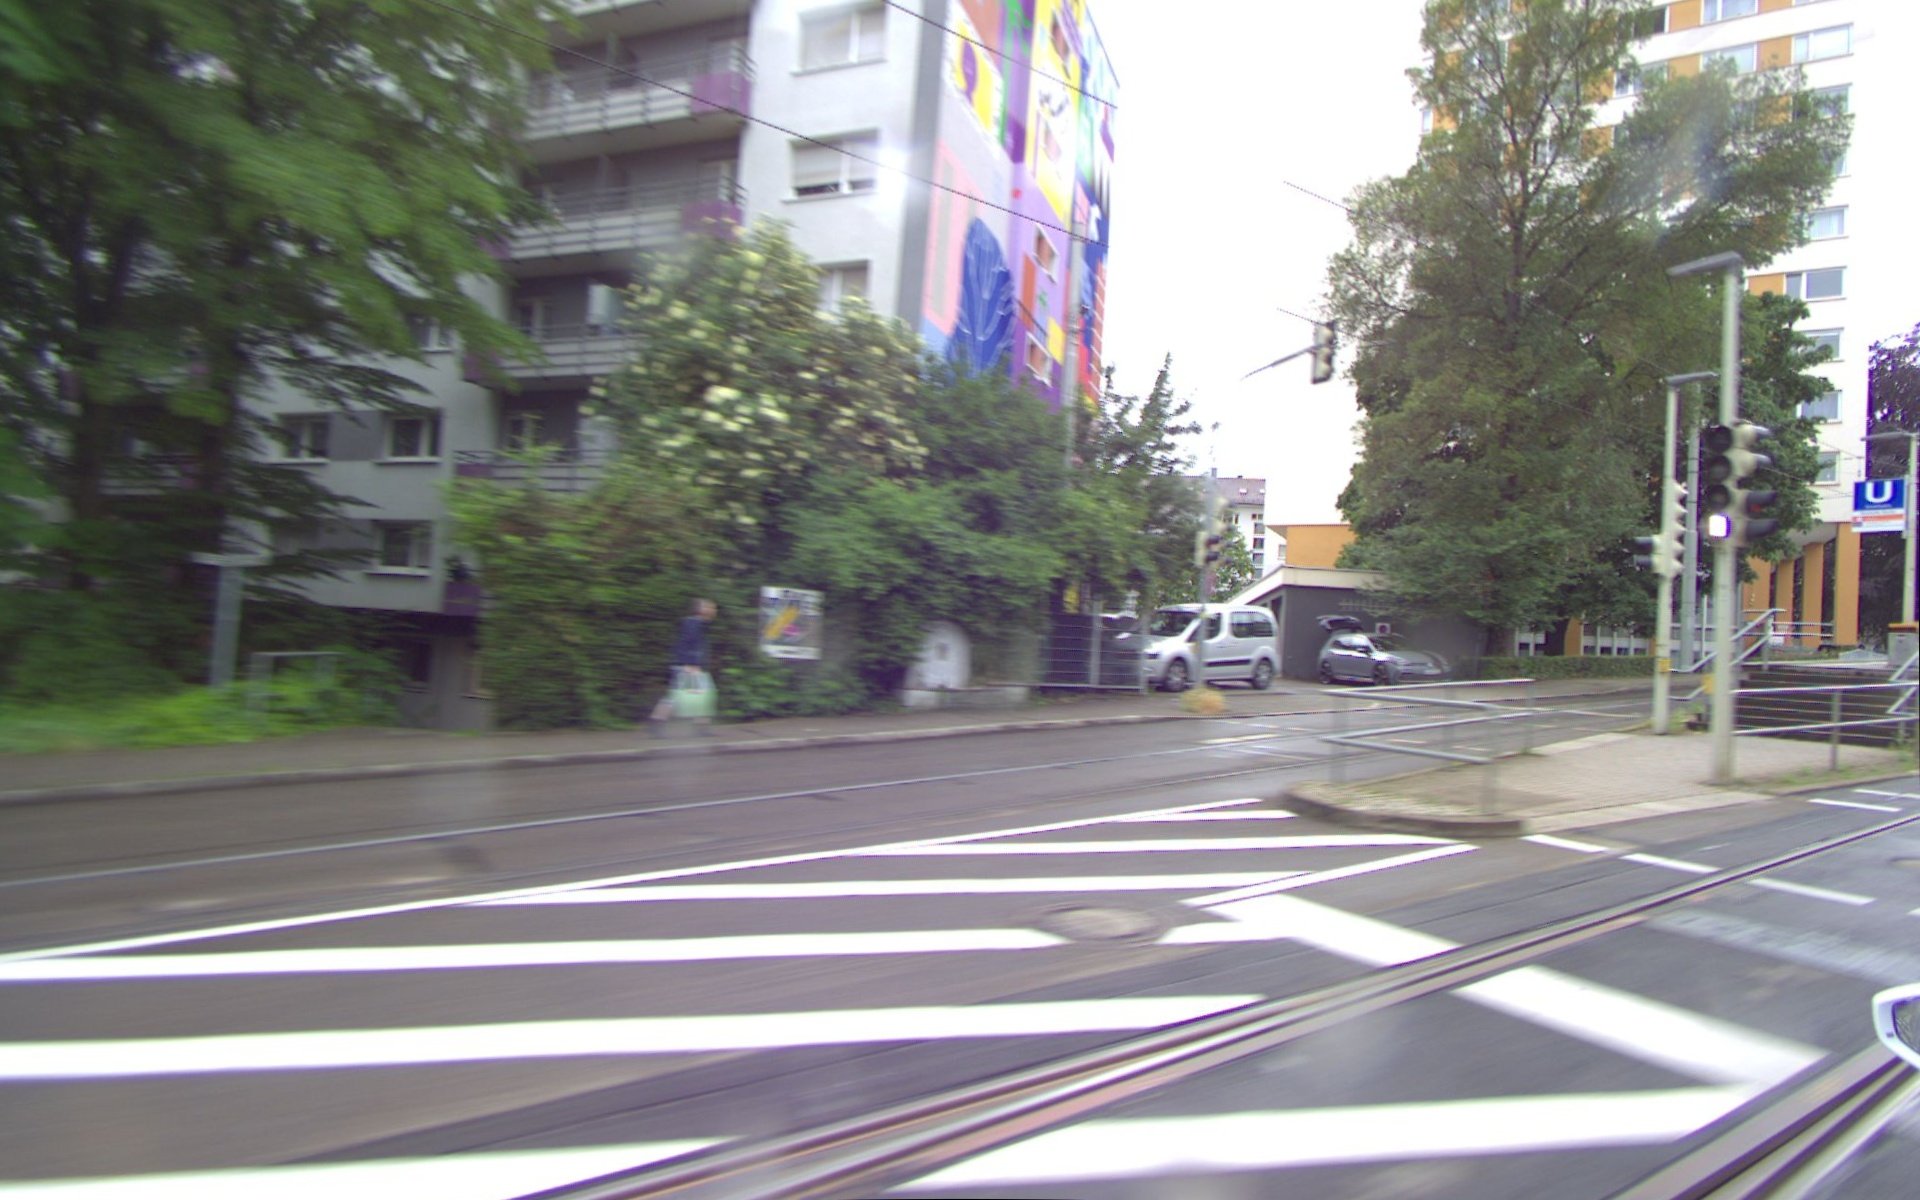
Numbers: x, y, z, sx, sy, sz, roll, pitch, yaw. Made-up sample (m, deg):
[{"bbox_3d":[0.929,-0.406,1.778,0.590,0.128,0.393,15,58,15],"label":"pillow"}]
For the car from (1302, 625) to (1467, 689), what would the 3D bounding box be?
[{"bbox_3d":[11.454,1.498,27.480,1.912,1.563,4.482,1,-1,-13],"label":"car"}]

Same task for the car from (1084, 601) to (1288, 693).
[{"bbox_3d":[4.819,0.953,21.154,4.398,1.739,1.734,2,-1,-36],"label":"car"}]

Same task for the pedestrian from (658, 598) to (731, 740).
[{"bbox_3d":[-3.182,0.805,12.005,0.611,1.615,0.749,2,1,-32],"label":"pedestrian"}]
